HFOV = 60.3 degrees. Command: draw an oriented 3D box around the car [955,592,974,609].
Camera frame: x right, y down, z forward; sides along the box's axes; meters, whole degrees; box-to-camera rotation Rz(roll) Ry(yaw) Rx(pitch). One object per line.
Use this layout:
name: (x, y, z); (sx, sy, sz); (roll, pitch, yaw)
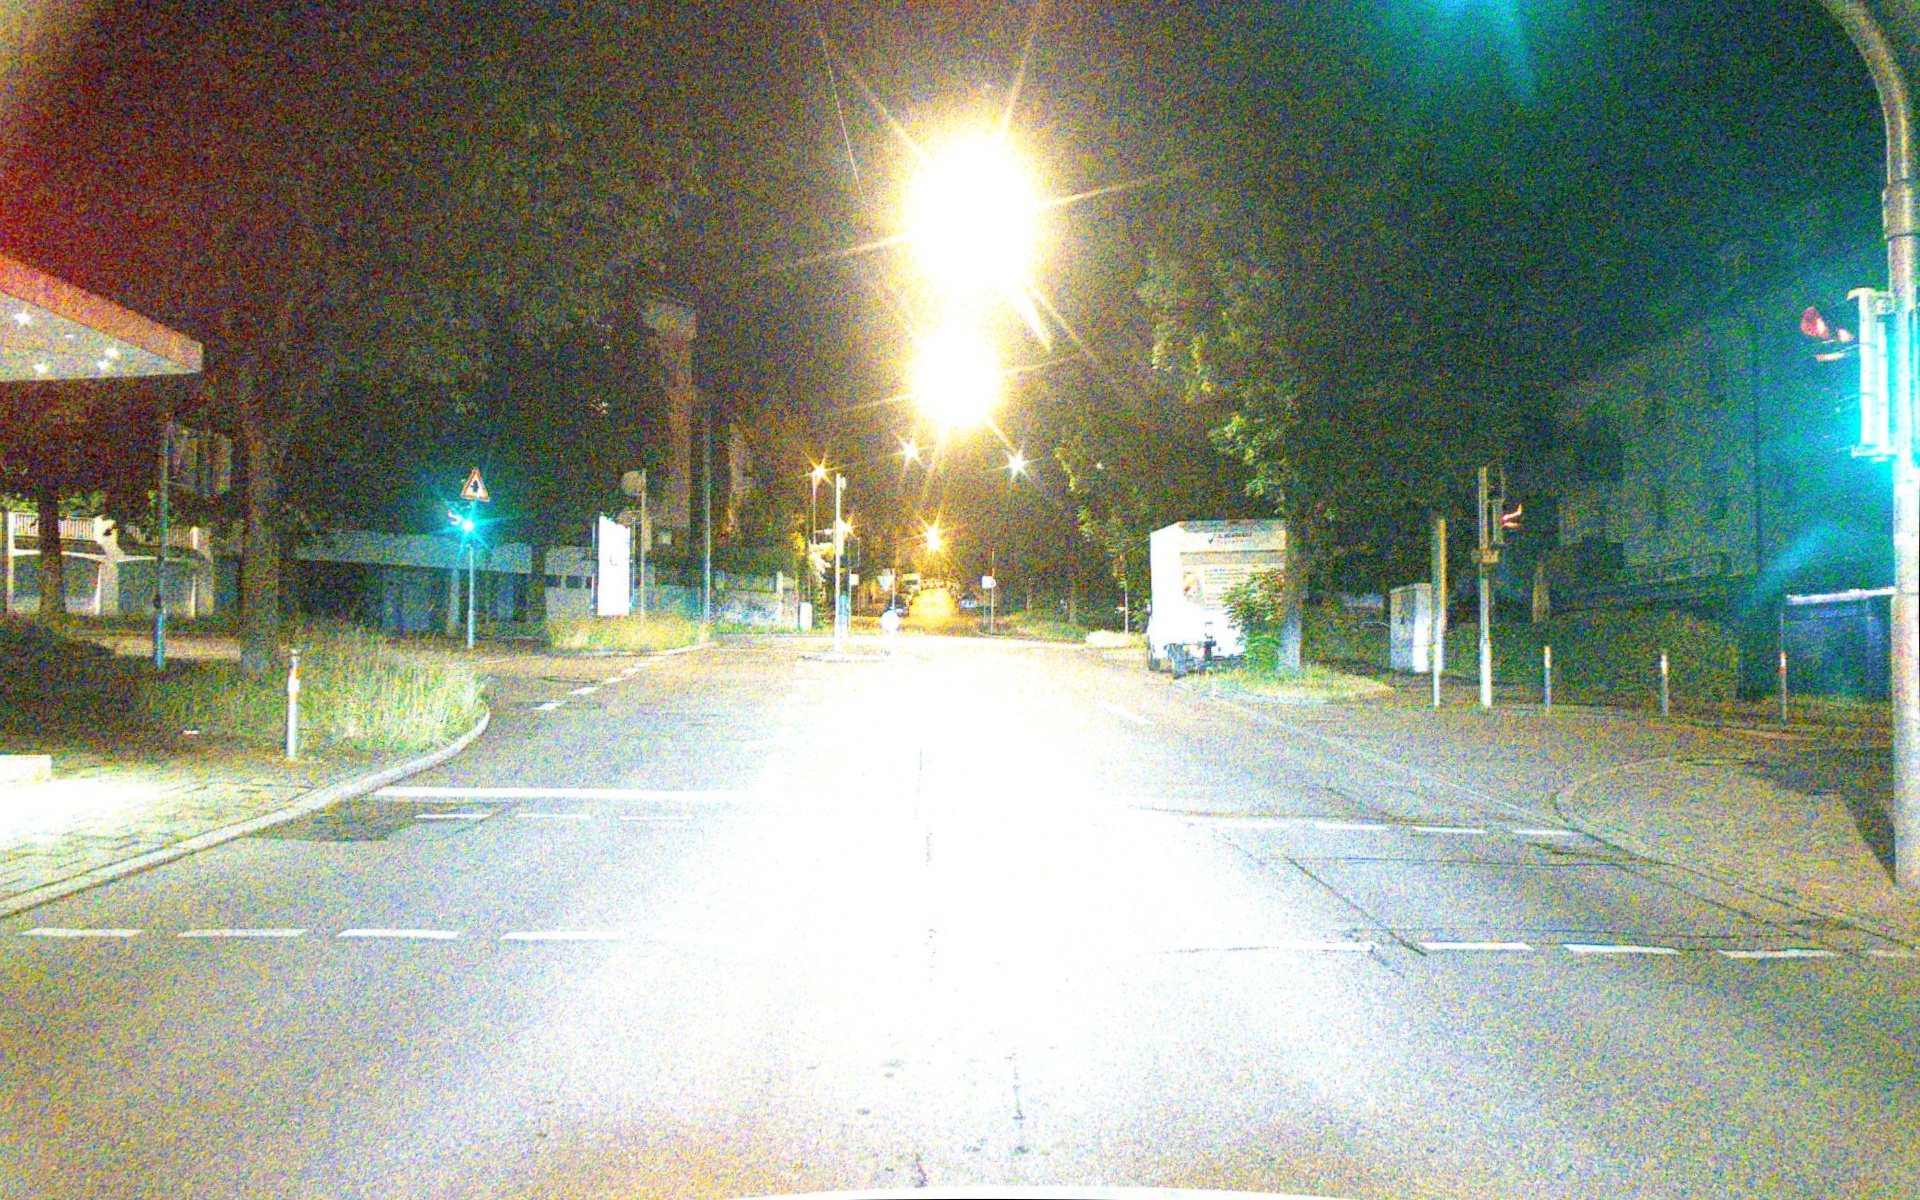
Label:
car: (0.417, 0.065, 153.096); (1.601, 1.477, 3.484); (1, 0, -1)

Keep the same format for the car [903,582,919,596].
car: (-5.529, -1.203, 186.881); (1.779, 1.517, 3.998); (1, 0, -2)

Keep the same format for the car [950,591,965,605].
car: (-0.261, -0.171, 178.512); (1.601, 1.477, 3.484); (1, 0, -1)

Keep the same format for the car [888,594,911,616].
car: (-4.896, 0.368, 134.363); (1.778, 1.713, 3.999); (1, 0, -1)

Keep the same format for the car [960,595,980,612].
car: (0.879, 0.292, 143.366); (1.601, 1.477, 3.484); (1, 0, -1)

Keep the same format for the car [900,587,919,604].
car: (-4.876, -0.436, 160.497); (1.779, 1.517, 3.998); (1, 0, -2)

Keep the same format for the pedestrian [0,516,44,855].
pedestrian: (-5.345, 0.444, 8.528); (0.662, 1.776, 1.028); (1, -1, -2)

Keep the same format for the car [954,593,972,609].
car: (0.263, 0.101, 159.278); (1.601, 1.477, 3.484); (1, 0, -1)

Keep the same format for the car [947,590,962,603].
car: (-0.654, -0.426, 191.478); (1.601, 1.477, 3.484); (1, 0, -1)

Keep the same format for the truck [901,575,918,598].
truck: (-6.431, -1.704, 209.506); (2.044, 2.897, 5.828); (1, 0, -2)

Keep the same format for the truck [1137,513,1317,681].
truck: (5.431, -0.062, 34.691); (2.693, 3.165, 6.257); (1, 0, 0)

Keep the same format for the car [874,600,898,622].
car: (-5.262, 0.756, 118.130); (1.601, 1.477, 3.484); (1, 0, -1)
